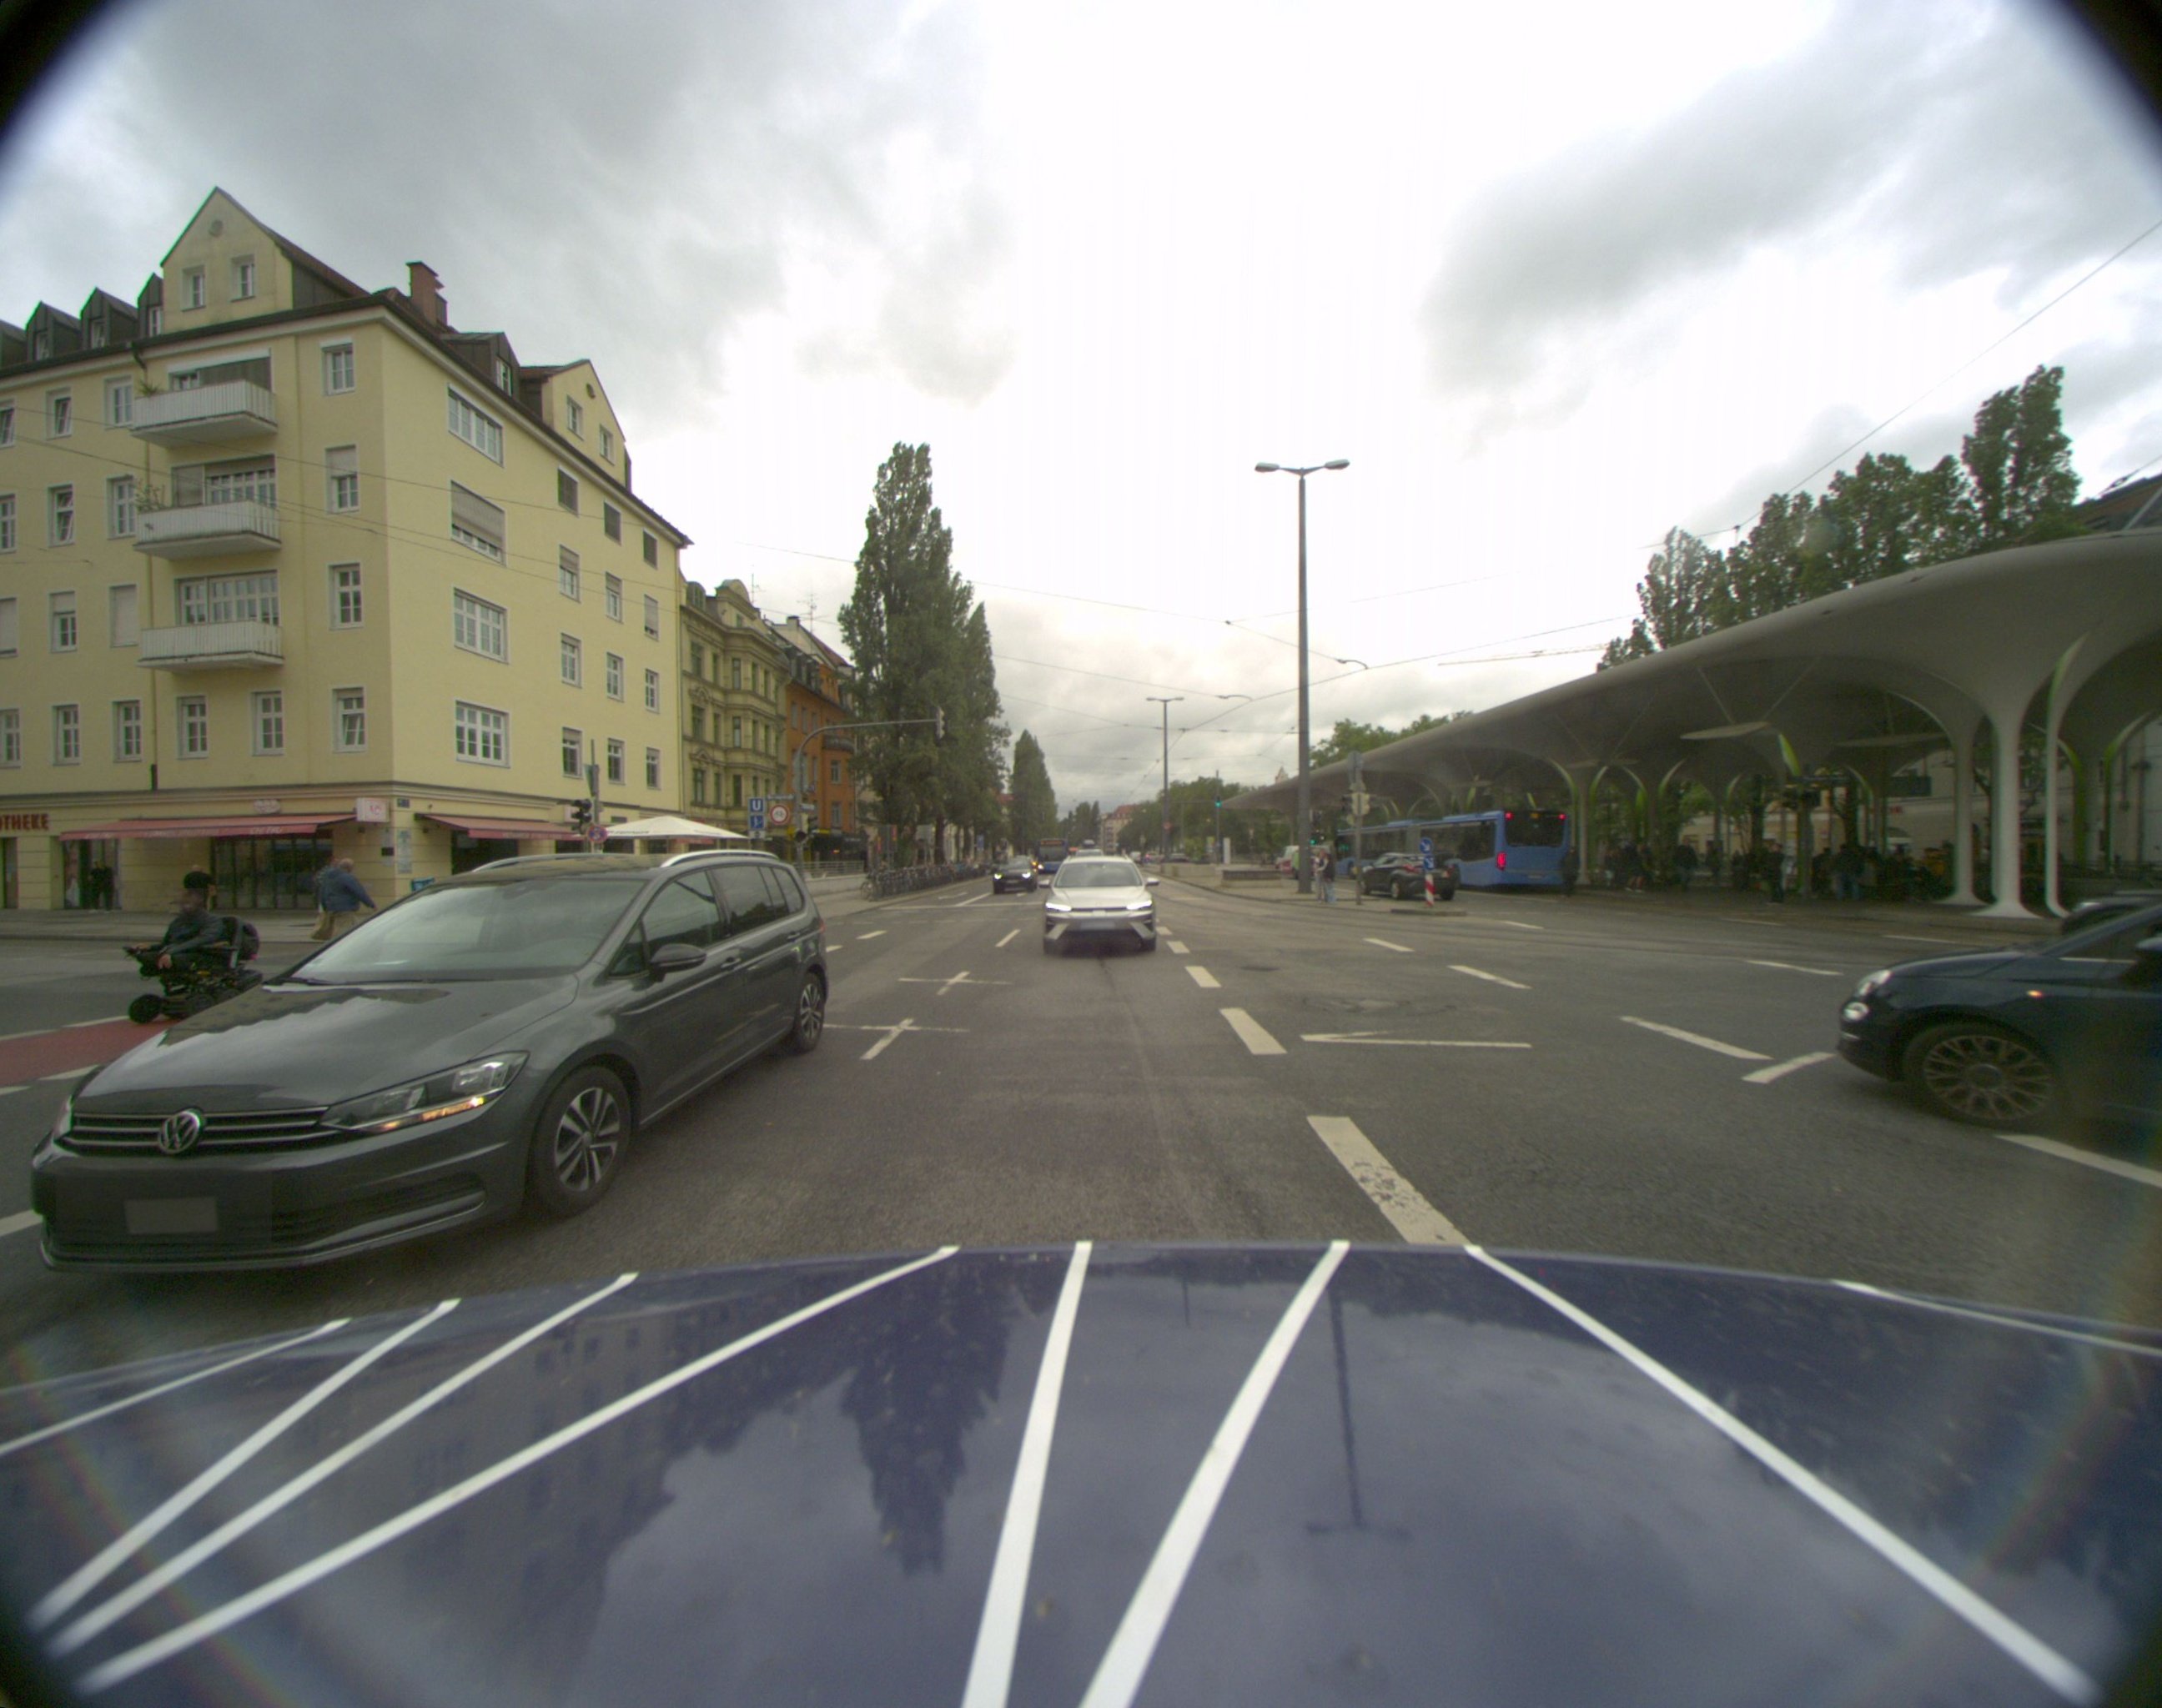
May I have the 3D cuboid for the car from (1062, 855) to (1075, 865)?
[{"bbox_3d":[-1.687,0.824,104.276,1.704,1.360,3.632,-1,0,1],"label":"car"}]

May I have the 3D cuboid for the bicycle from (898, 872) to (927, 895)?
[{"bbox_3d":[-7.796,1.333,35.162,1.836,0.990,0.349,1,1,44],"label":"bicycle"}]

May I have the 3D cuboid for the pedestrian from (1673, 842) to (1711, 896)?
[{"bbox_3d":[20.883,0.514,25.968,0.805,1.806,0.706,0,1,16],"label":"pedestrian"}]

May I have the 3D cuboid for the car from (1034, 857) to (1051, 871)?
[{"bbox_3d":[-4.630,1.220,92.122,1.780,1.515,3.969,-1,1,1],"label":"car"}]

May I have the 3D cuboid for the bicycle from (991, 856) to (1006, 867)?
[{"bbox_3d":[-8.669,0.791,79.504,1.740,1.096,0.360,0,1,36],"label":"bicycle"}]

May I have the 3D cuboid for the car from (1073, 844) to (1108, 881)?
[{"bbox_3d":[0.550,0.481,45.640,1.998,2.100,4.000,-1,0,0],"label":"car"}]

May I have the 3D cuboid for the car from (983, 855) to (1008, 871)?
[{"bbox_3d":[-8.124,0.833,72.632,1.999,1.432,4.528,-1,0,-1],"label":"car"}]

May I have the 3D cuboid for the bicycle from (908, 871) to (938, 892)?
[{"bbox_3d":[-7.741,1.328,37.186,1.836,0.990,0.349,1,1,40],"label":"bicycle"}]

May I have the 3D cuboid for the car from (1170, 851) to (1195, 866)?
[{"bbox_3d":[9.861,0.419,73.913,1.847,1.408,4.034,-1,0,-1],"label":"car"}]

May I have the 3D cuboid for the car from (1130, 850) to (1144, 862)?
[{"bbox_3d":[8.733,0.318,119.021,1.791,1.844,4.217,0,0,-2],"label":"car"}]

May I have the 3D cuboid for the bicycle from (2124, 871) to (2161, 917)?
[{"bbox_3d":[26.700,0.987,18.232,0.642,1.118,2.167,0,0,10],"label":"bicycle"}]

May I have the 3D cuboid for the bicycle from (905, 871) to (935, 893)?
[{"bbox_3d":[-7.762,1.330,36.514,1.836,0.990,0.349,1,1,40],"label":"bicycle"}]

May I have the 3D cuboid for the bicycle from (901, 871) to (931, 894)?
[{"bbox_3d":[-7.792,1.332,35.849,1.836,0.990,0.349,1,1,40],"label":"bicycle"}]

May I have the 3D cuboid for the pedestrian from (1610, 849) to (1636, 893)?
[{"bbox_3d":[19.500,0.618,27.327,0.564,1.563,0.533,0,1,1],"label":"pedestrian"}]

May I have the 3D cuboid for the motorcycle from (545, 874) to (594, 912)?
[{"bbox_3d":[-16.736,1.268,24.908,0.487,1.149,1.571,-1,0,1],"label":"motorcycle"}]

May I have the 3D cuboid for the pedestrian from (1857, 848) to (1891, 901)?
[{"bbox_3d":[23.870,0.612,22.875,0.664,1.574,0.500,0,1,43],"label":"pedestrian"}]

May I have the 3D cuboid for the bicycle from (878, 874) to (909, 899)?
[{"bbox_3d":[-7.828,1.338,31.704,0.349,0.990,1.836,-1,1,-45],"label":"bicycle"}]

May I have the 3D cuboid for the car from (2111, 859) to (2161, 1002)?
[{"bbox_3d":[13.463,0.890,7.282,1.787,1.652,4.000,-1,0,1],"label":"car"}]

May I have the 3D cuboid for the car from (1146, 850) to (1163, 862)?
[{"bbox_3d":[12.094,0.328,125.319,2.181,1.876,6.155,-1,0,-1],"label":"car"}]

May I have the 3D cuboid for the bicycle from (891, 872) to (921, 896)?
[{"bbox_3d":[-7.804,1.335,33.779,1.836,0.990,0.349,1,1,44],"label":"bicycle"}]

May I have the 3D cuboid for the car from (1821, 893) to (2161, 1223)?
[{"bbox_3d":[5.845,0.966,3.233,1.552,1.437,3.532,1,0,-23],"label":"car"}]

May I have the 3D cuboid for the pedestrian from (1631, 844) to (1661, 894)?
[{"bbox_3d":[19.651,0.514,26.440,0.703,1.701,0.758,0,1,25],"label":"pedestrian"}]

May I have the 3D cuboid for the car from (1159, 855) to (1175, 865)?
[{"bbox_3d":[12.337,0.794,109.254,1.677,1.370,4.612,1,1,-1],"label":"car"}]

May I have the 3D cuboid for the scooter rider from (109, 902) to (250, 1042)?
[{"bbox_3d":[-9.541,1.221,8.069,0.702,1.381,0.643,-1,1,-1],"label":"scooter rider"}]

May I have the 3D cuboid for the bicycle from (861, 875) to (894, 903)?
[{"bbox_3d":[-7.907,1.340,29.458,0.349,0.990,1.836,-1,1,-45],"label":"bicycle"}]

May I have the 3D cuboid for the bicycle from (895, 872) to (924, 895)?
[{"bbox_3d":[-7.806,1.334,34.496,1.836,0.990,0.349,1,1,44],"label":"bicycle"}]

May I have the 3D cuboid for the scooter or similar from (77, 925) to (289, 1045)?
[{"bbox_3d":[-9.584,1.359,8.186,0.777,1.069,1.256,-1,0,-1],"label":"scooter or similar"}]

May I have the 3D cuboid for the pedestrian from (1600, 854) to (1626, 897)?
[{"bbox_3d":[18.836,0.768,26.912,0.614,1.496,0.471,-1,1,-1],"label":"pedestrian"}]

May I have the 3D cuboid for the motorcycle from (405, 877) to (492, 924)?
[{"bbox_3d":[-17.527,1.269,21.093,1.769,1.193,0.541,-1,1,-29],"label":"motorcycle"}]

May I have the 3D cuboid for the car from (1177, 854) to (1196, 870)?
[{"bbox_3d":[12.589,0.971,90.768,1.910,1.829,3.869,-1,0,2],"label":"car"}]

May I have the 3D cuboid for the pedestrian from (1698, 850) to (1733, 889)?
[{"bbox_3d":[26.526,0.659,31.780,0.812,1.602,0.791,-1,1,7],"label":"pedestrian"}]

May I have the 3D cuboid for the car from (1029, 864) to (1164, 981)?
[{"bbox_3d":[0.290,0.969,12.759,1.812,1.496,4.953,-1,0,2],"label":"car"}]

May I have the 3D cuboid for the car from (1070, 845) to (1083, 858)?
[{"bbox_3d":[-0.953,-0.579,170.265,2.806,2.836,5.114,-1,0,1],"label":"car"}]

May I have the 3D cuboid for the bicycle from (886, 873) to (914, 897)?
[{"bbox_3d":[-7.924,1.341,33.213,0.349,0.990,1.836,-1,1,-43],"label":"bicycle"}]

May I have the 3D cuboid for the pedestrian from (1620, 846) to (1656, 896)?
[{"bbox_3d":[18.893,0.569,25.778,0.632,1.665,0.747,-1,1,-24],"label":"pedestrian"}]

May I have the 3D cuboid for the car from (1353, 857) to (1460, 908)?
[{"bbox_3d":[10.638,0.868,25.171,1.668,1.499,4.281,0,0,-1],"label":"car"}]

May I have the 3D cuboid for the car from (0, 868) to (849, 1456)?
[{"bbox_3d":[-3.078,0.964,4.601,1.776,1.637,4.708,-1,0,1],"label":"car"}]

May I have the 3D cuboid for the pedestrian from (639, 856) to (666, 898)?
[{"bbox_3d":[-16.662,0.876,29.542,0.616,1.623,0.677,-1,1,1],"label":"pedestrian"}]

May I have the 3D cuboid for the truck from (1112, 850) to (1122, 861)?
[{"bbox_3d":[10.954,0.412,230.049,2.572,3.069,7.690,1,0,0],"label":"truck"}]

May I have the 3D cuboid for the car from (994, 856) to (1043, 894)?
[{"bbox_3d":[-2.816,0.909,34.837,1.780,1.495,3.970,-4,1,1],"label":"car"}]

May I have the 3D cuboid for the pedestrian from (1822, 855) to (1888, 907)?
[{"bbox_3d":[21.898,0.757,21.520,1.023,1.444,0.855,0,0,17],"label":"pedestrian"}]

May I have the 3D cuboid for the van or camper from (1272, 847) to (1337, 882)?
[{"bbox_3d":[12.538,0.551,42.996,1.933,1.815,5.440,1,0,-1],"label":"van or camper"}]
